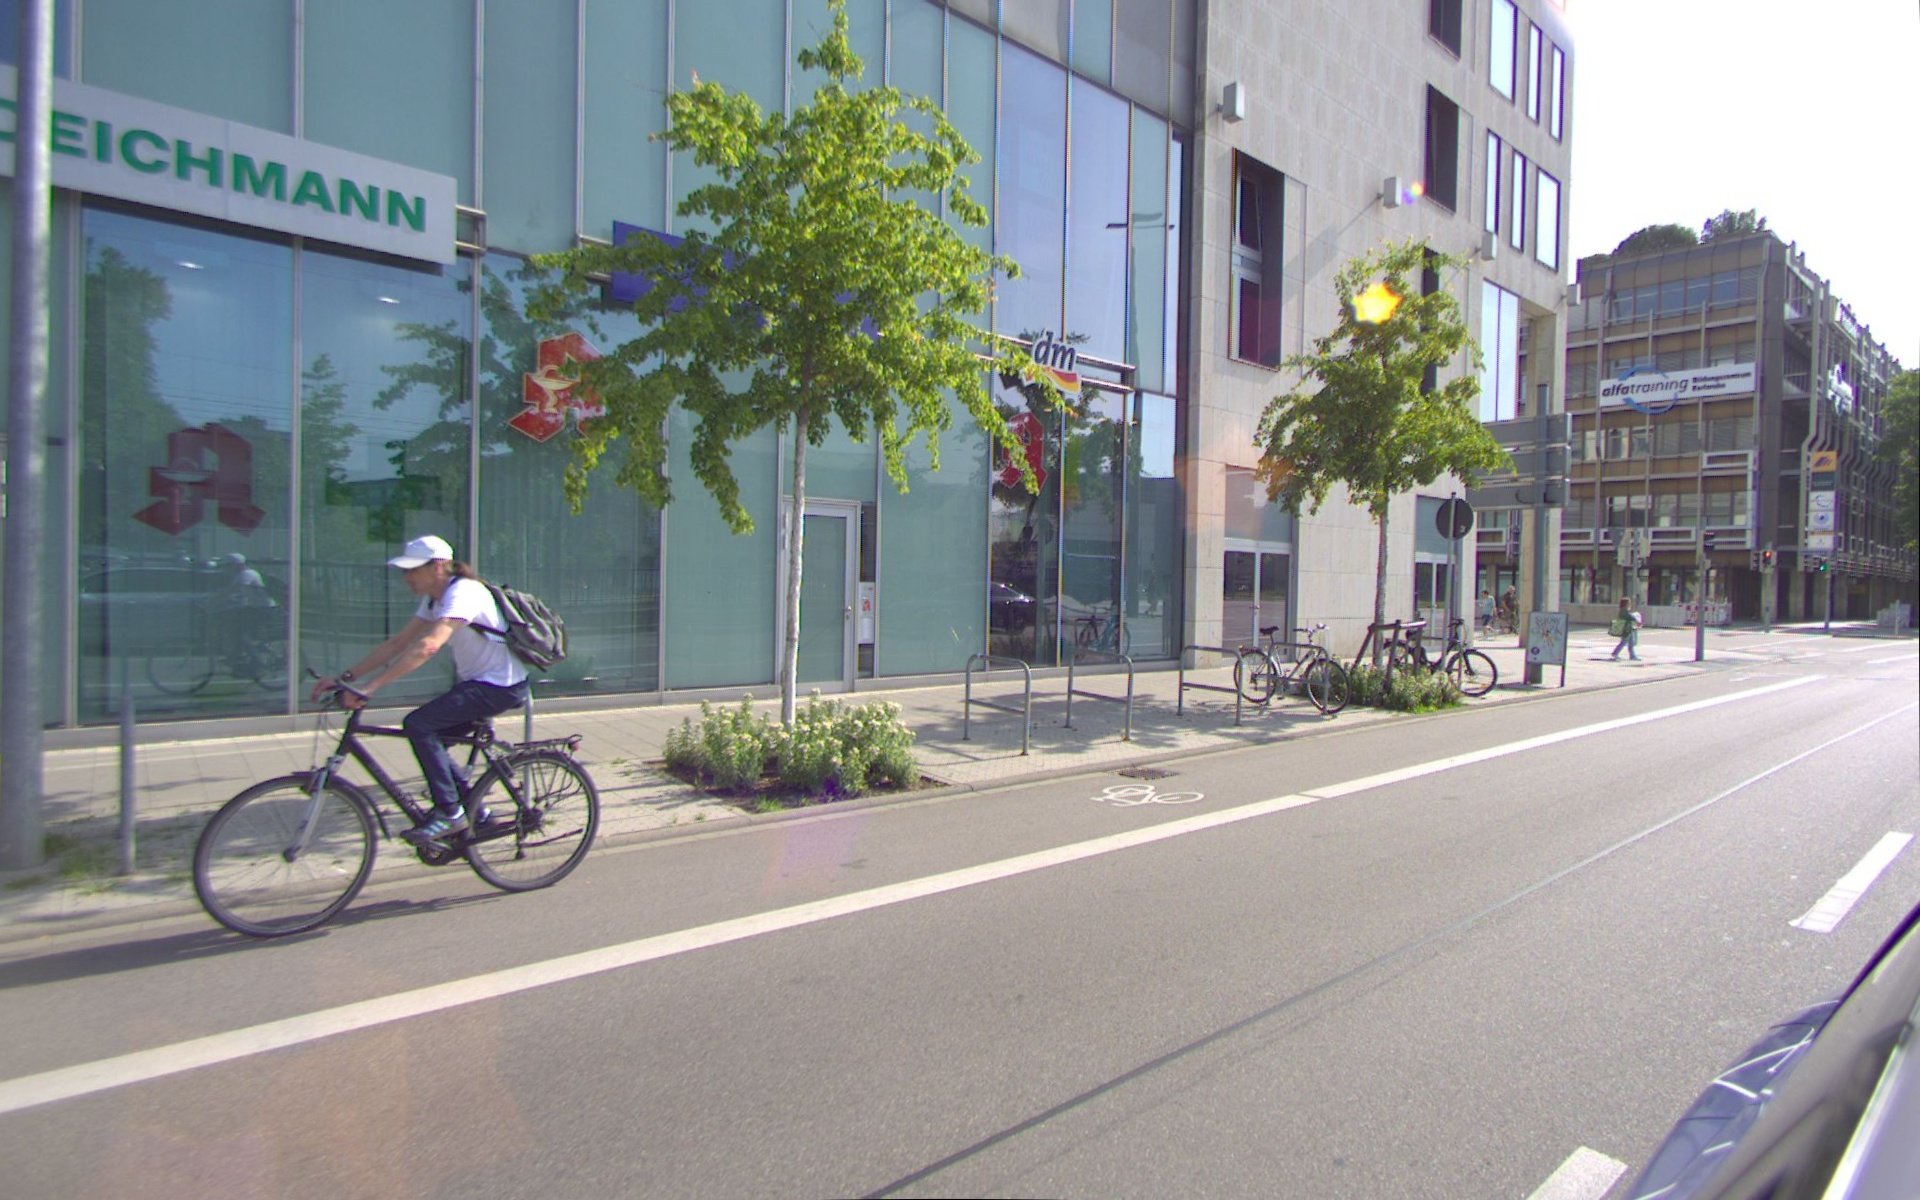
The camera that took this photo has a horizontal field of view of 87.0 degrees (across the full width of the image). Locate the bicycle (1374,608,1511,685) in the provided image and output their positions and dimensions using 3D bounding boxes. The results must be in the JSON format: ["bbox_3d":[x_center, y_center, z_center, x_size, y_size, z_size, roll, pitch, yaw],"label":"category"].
[{"bbox_3d":[7.567,0.696,15.946,0.674,1.127,1.844,1,-1,-38],"label":"bicycle"}]

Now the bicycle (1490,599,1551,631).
[{"bbox_3d":[19.879,0.518,35.907,0.601,1.030,1.806,1,1,-39],"label":"bicycle"}]

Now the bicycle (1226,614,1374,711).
[{"bbox_3d":[4.426,0.775,13.304,0.481,1.123,1.883,1,1,-38],"label":"bicycle"}]

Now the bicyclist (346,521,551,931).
[{"bbox_3d":[-2.462,0.538,4.864,0.755,1.771,0.653,1,1,-38],"label":"bicyclist"}]

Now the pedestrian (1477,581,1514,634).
[{"bbox_3d":[17.831,0.234,33.698,0.970,1.732,0.645,1,1,-32],"label":"pedestrian"}]

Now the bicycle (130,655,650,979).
[{"bbox_3d":[-2.564,0.875,4.743,2.013,1.131,0.663,0,1,-38],"label":"bicycle"}]

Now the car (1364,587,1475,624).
[{"bbox_3d":[19.352,0.191,42.765,1.842,1.383,3.906,-1,2,-35],"label":"car"}]

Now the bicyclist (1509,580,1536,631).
[{"bbox_3d":[19.939,0.184,35.853,0.572,1.759,0.636,1,1,-39],"label":"bicyclist"}]

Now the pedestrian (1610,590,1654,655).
[{"bbox_3d":[16.149,0.534,24.332,0.594,1.506,0.709,1,1,-39],"label":"pedestrian"}]
